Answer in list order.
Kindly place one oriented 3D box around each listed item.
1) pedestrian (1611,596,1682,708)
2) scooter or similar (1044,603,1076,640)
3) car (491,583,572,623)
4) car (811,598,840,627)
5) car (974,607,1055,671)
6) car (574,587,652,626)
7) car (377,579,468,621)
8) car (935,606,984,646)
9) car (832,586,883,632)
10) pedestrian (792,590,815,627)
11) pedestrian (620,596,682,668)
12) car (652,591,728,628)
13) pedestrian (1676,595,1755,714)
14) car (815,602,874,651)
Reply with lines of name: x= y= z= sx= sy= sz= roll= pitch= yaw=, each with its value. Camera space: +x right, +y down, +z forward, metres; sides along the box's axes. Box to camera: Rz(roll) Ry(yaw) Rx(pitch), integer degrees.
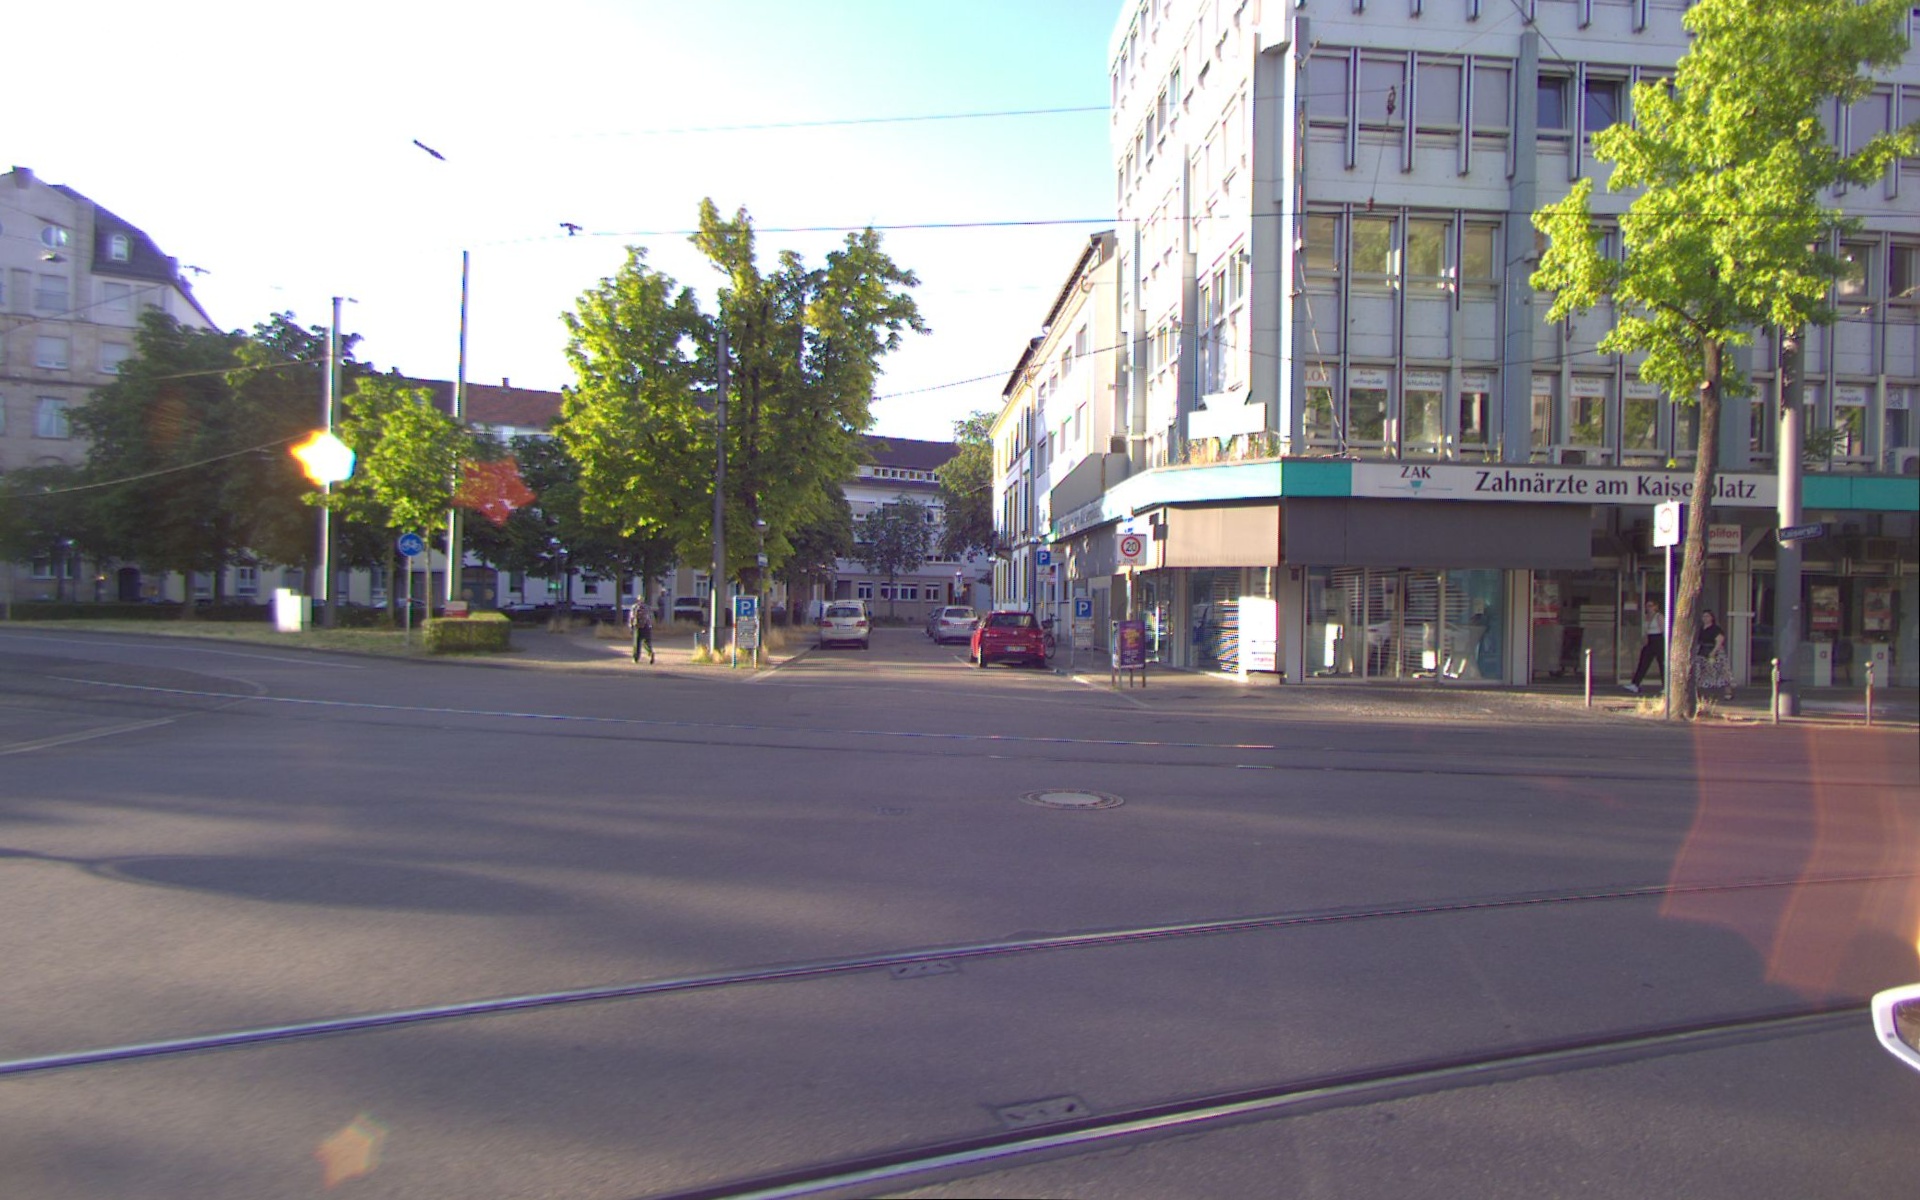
pedestrian: x=12.941 y=0.962 z=18.944 sx=0.720 sy=2.040 sz=0.799 roll=2 pitch=0 yaw=-3
scooter or similar: x=3.981 y=0.822 z=39.888 sx=0.740 sy=1.417 sz=1.927 roll=2 pitch=1 yaw=20
car: x=-23.148 y=0.183 z=54.315 sx=3.944 sy=2.040 sz=1.988 roll=1 pitch=0 yaw=-24
car: x=-10.279 y=0.933 z=76.543 sx=1.964 sy=2.040 sz=3.993 roll=1 pitch=0 yaw=-10
car: x=1.441 y=0.987 z=27.138 sx=1.987 sy=1.504 sz=4.001 roll=2 pitch=0 yaw=2
car: x=-19.400 y=0.371 z=56.096 sx=3.944 sy=2.040 sz=1.988 roll=1 pitch=0 yaw=-24
car: x=-27.701 y=0.026 z=51.949 sx=3.944 sy=2.040 sz=1.988 roll=1 pitch=0 yaw=-24
car: x=-0.058 y=1.072 z=42.339 sx=1.961 sy=1.550 sz=3.999 roll=2 pitch=0 yaw=-1
car: x=-4.908 y=0.423 z=48.547 sx=1.960 sy=2.040 sz=4.000 roll=2 pitch=0 yaw=1
pedestrian: x=-8.752 y=0.479 z=56.108 sx=1.098 sy=2.040 sz=1.464 roll=1 pitch=0 yaw=-5
pedestrian: x=-7.636 y=0.775 z=24.869 sx=1.139 sy=1.725 sz=0.908 roll=1 pitch=0 yaw=13
car: x=-15.588 y=0.534 z=57.961 sx=3.944 sy=2.040 sz=1.988 roll=1 pitch=0 yaw=-24
pedestrian: x=13.305 y=0.941 z=17.705 sx=0.720 sy=2.040 sz=0.799 roll=2 pitch=0 yaw=-3
car: x=-4.368 y=0.944 z=37.625 sx=1.964 sy=1.706 sz=3.993 roll=1 pitch=0 yaw=-10
